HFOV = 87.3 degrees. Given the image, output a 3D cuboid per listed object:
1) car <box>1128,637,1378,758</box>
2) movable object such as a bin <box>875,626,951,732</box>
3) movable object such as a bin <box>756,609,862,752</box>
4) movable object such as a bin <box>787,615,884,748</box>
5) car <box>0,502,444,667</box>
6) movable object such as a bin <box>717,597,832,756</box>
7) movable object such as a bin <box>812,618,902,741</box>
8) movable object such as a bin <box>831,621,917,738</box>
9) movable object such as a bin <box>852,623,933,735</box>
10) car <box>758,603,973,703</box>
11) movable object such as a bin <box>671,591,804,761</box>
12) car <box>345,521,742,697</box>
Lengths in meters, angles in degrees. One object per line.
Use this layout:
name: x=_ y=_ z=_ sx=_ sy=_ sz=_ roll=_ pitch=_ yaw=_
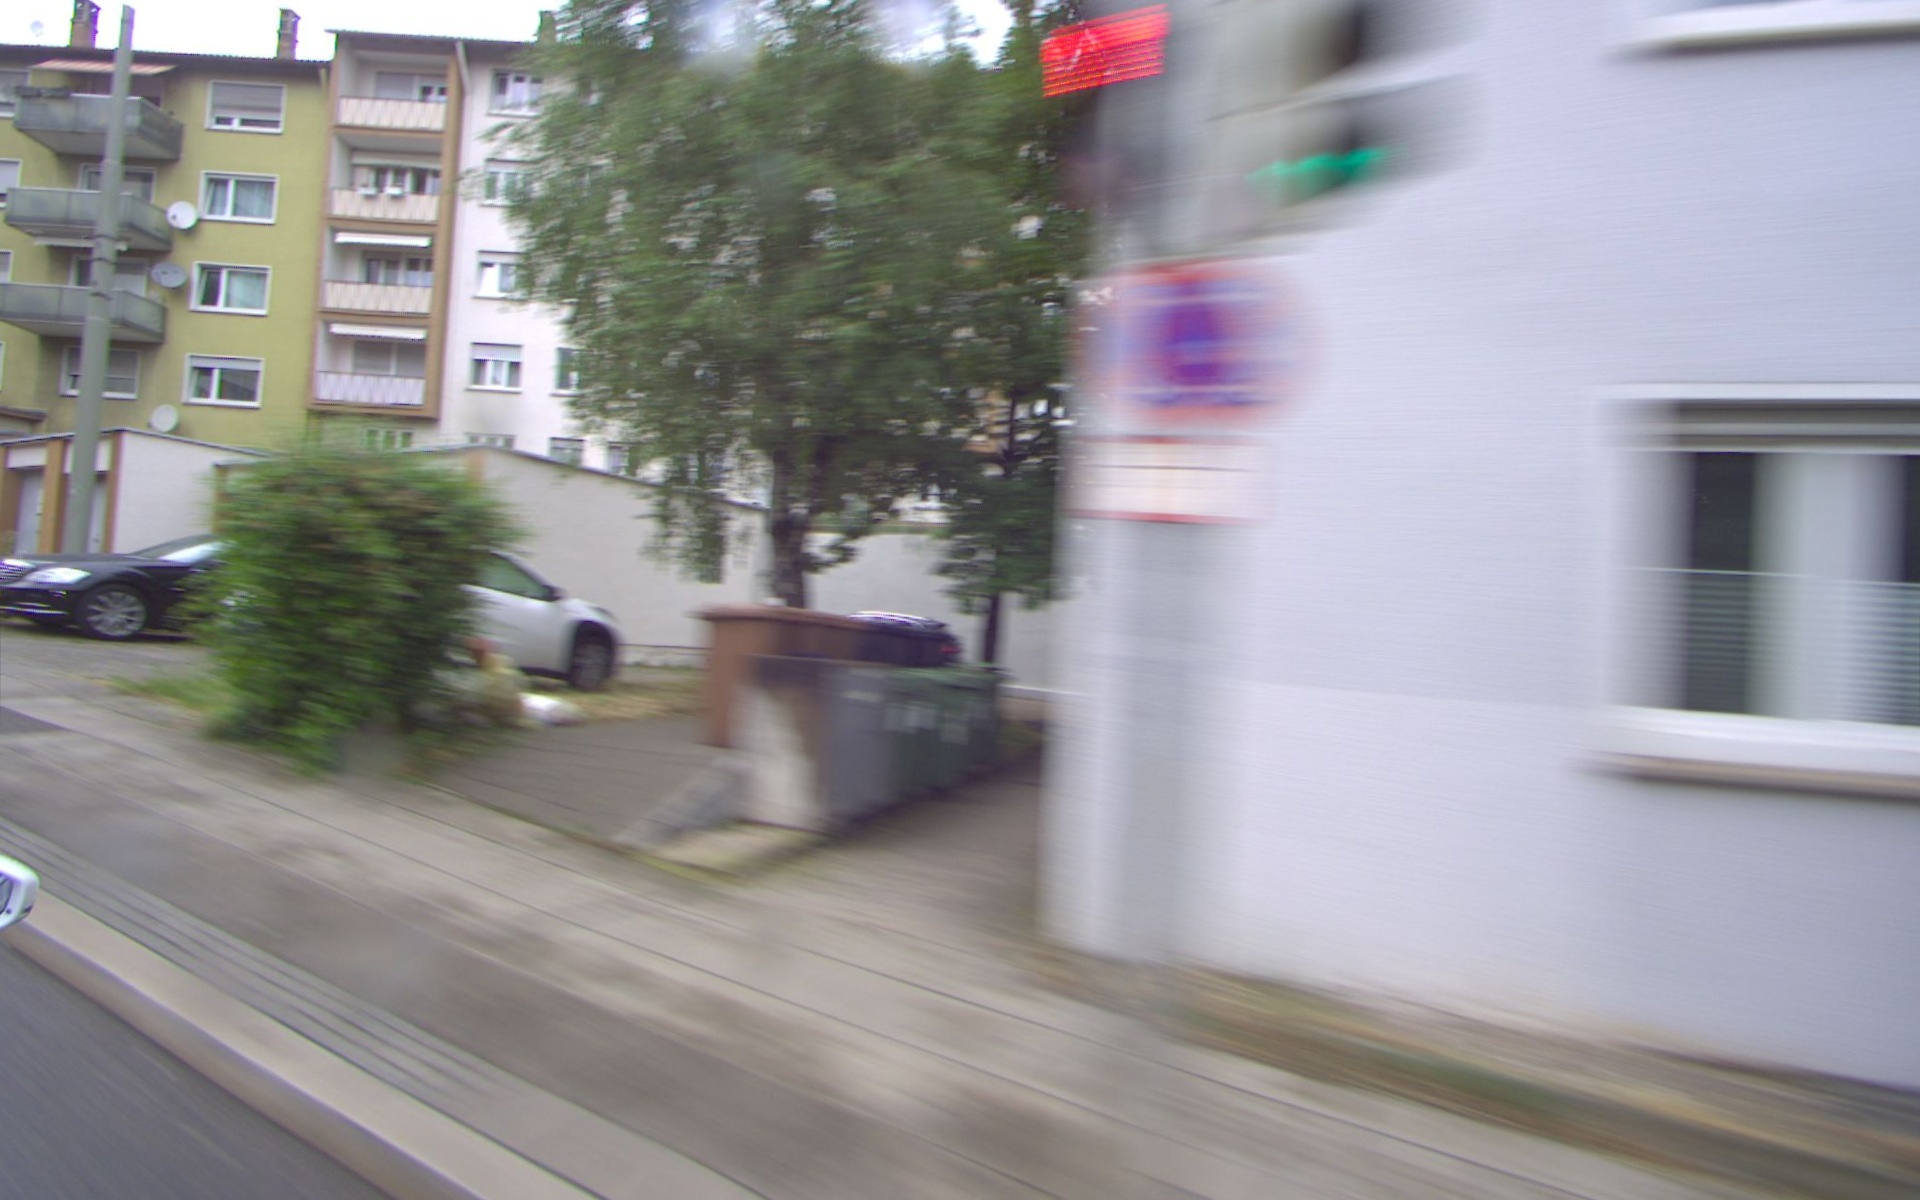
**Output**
car: x=5.136 y=1.700 z=17.884 sx=3.924 sy=1.528 sz=1.692 roll=7 pitch=-3 yaw=17
movable object such as a bin: x=-0.534 y=0.901 z=11.633 sx=0.631 sy=1.125 sz=0.517 roll=6 pitch=0 yaw=15
movable object such as a bin: x=-1.300 y=0.686 z=8.701 sx=0.631 sy=1.125 sz=0.517 roll=6 pitch=0 yaw=15
movable object such as a bin: x=-1.149 y=0.750 z=9.385 sx=0.631 sy=1.125 sz=0.517 roll=6 pitch=0 yaw=15
car: x=-9.899 y=-0.109 z=13.498 sx=1.940 sy=1.452 sz=4.946 roll=9 pitch=-2 yaw=29
movable object such as a bin: x=-1.496 y=0.611 z=8.159 sx=0.631 sy=1.172 sz=0.517 roll=6 pitch=0 yaw=15
movable object such as a bin: x=-1.016 y=0.784 z=10.036 sx=0.631 sy=1.125 sz=0.517 roll=6 pitch=0 yaw=15
movable object such as a bin: x=-0.895 y=0.828 z=10.554 sx=0.631 sy=1.125 sz=0.517 roll=6 pitch=0 yaw=15
movable object such as a bin: x=-0.740 y=0.863 z=11.110 sx=0.631 sy=1.125 sz=0.517 roll=6 pitch=0 yaw=15
car: x=-2.059 y=1.188 z=22.530 sx=4.339 sy=1.622 sz=1.753 roll=7 pitch=-3 yaw=9
movable object such as a bin: x=-1.662 y=0.559 z=7.571 sx=0.688 sy=1.154 sz=0.536 roll=7 pitch=0 yaw=13
car: x=-4.519 y=0.234 z=11.626 sx=1.784 sy=1.483 sz=4.003 roll=6 pitch=-3 yaw=24
